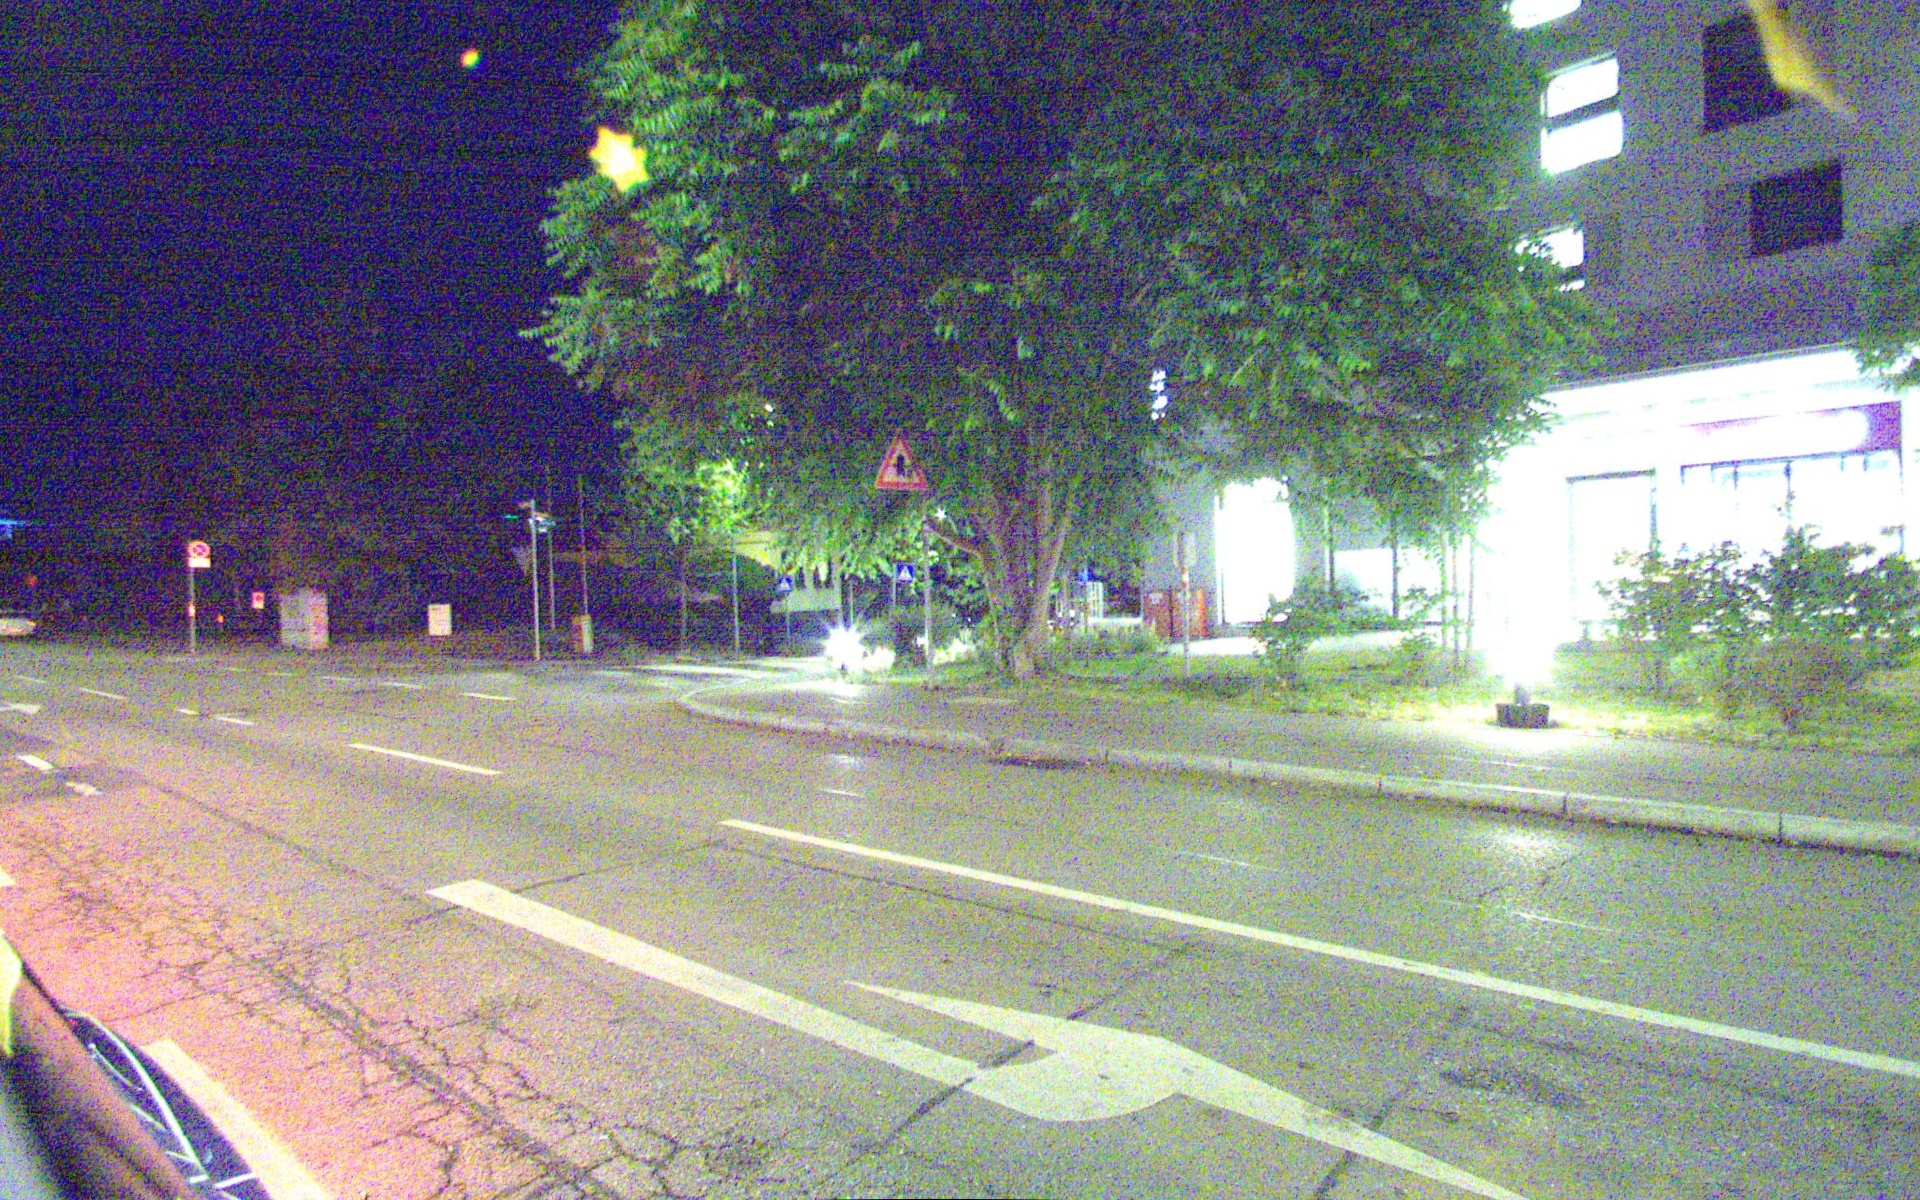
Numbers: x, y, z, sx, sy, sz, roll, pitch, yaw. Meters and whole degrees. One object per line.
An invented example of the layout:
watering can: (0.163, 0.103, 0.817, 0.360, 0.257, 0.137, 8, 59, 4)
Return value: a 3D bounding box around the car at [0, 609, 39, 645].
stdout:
car: (-43.254, 1.198, 45.796, 3.998, 1.464, 1.887, 1, 2, 41)
